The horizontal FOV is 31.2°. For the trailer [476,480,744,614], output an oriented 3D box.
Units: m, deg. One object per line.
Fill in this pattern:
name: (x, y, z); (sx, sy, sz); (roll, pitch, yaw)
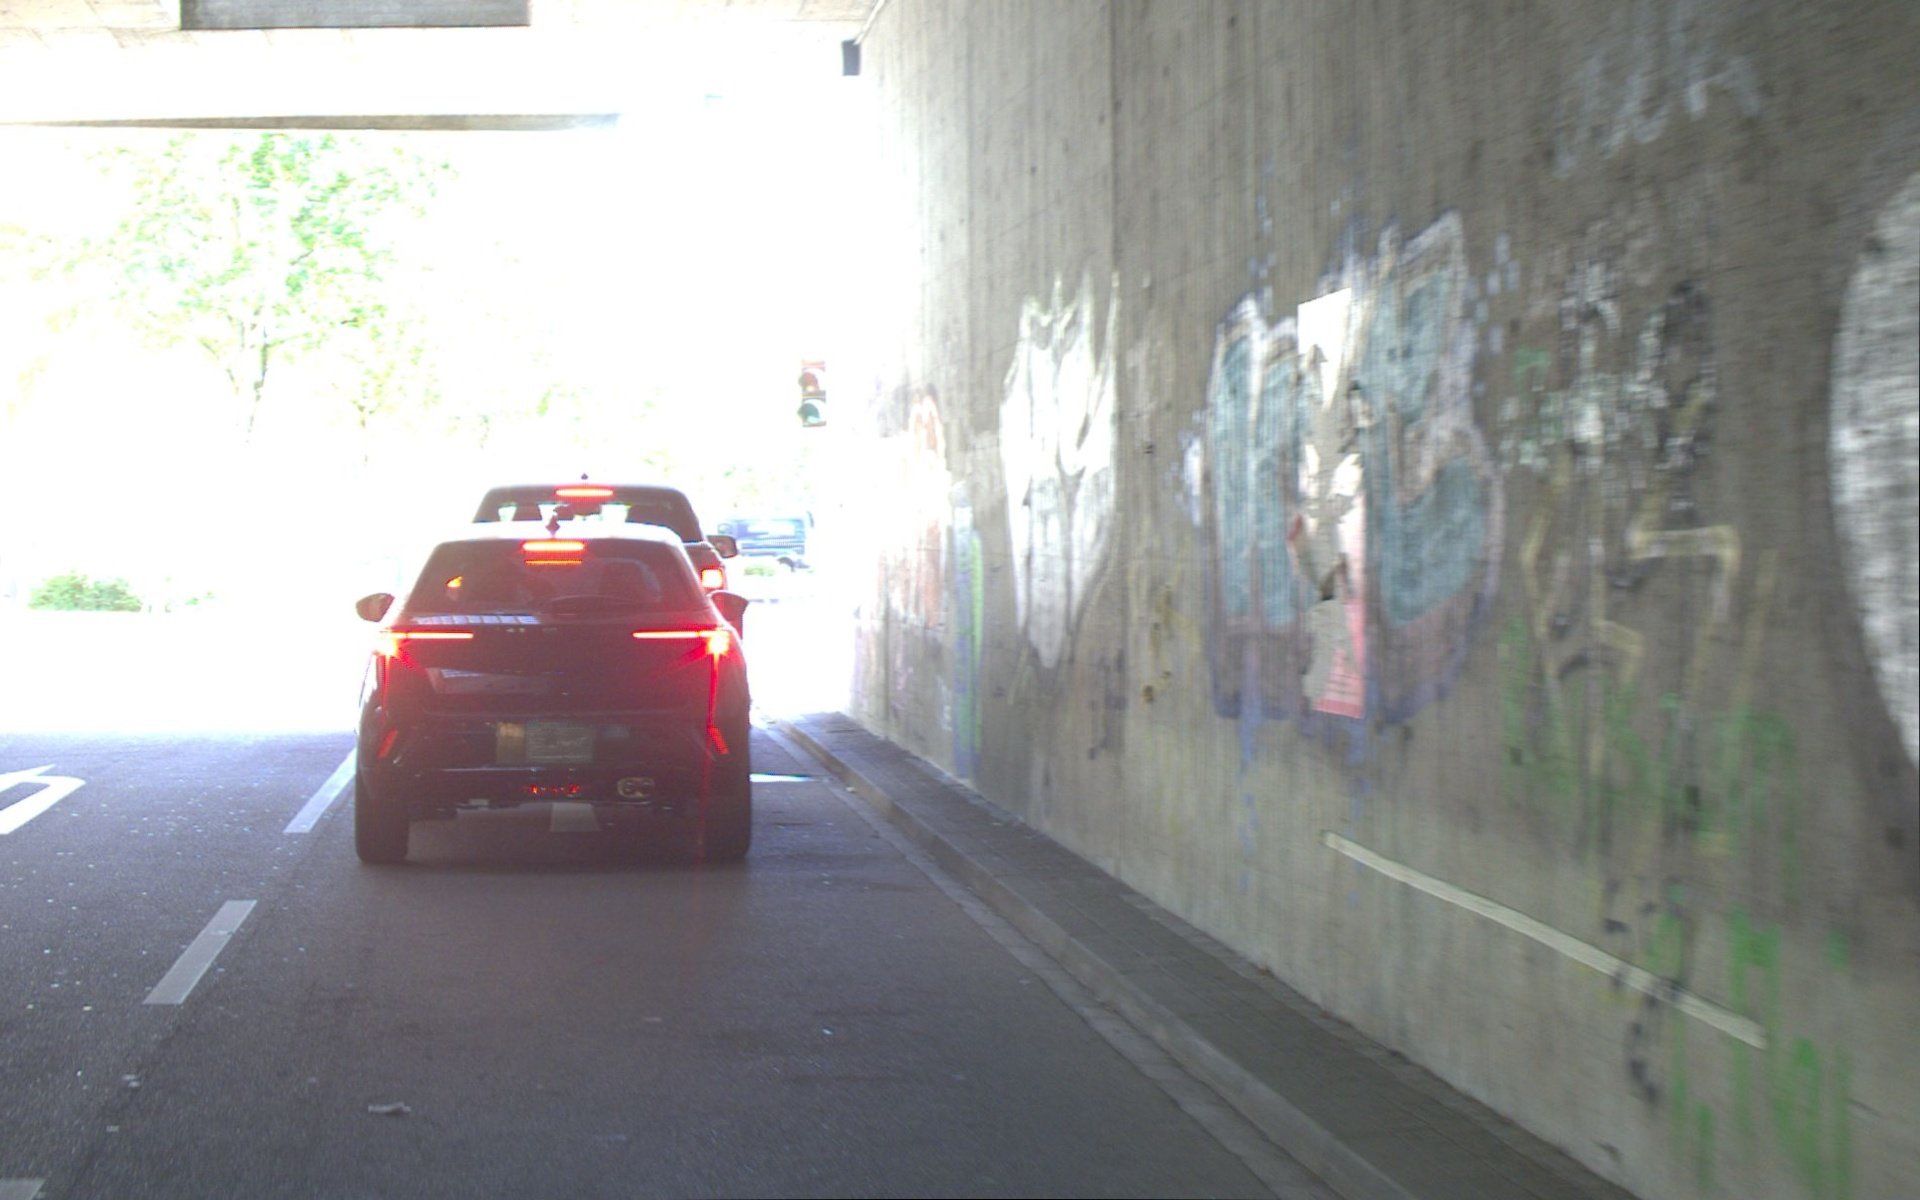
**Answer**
trailer: (-5.372, -0.823, 53.202); (3.986, 2.007, 2.000); (0, 1, -2)

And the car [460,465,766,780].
car: (-2.362, 0.079, 22.955); (1.815, 1.876, 4.587); (-1, 1, -7)

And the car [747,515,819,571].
car: (-6.448, -2.088, 125.742); (1.994, 2.007, 4.268); (0, 1, 6)

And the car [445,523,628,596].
car: (-10.211, -0.988, 83.087); (4.151, 1.733, 2.000); (0, 1, 0)

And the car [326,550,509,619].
car: (-12.414, -0.362, 78.790); (3.986, 1.568, 1.640); (0, 1, -3)

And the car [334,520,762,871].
car: (-1.995, 0.360, 16.856); (1.826, 1.496, 4.212); (0, 1, -6)
